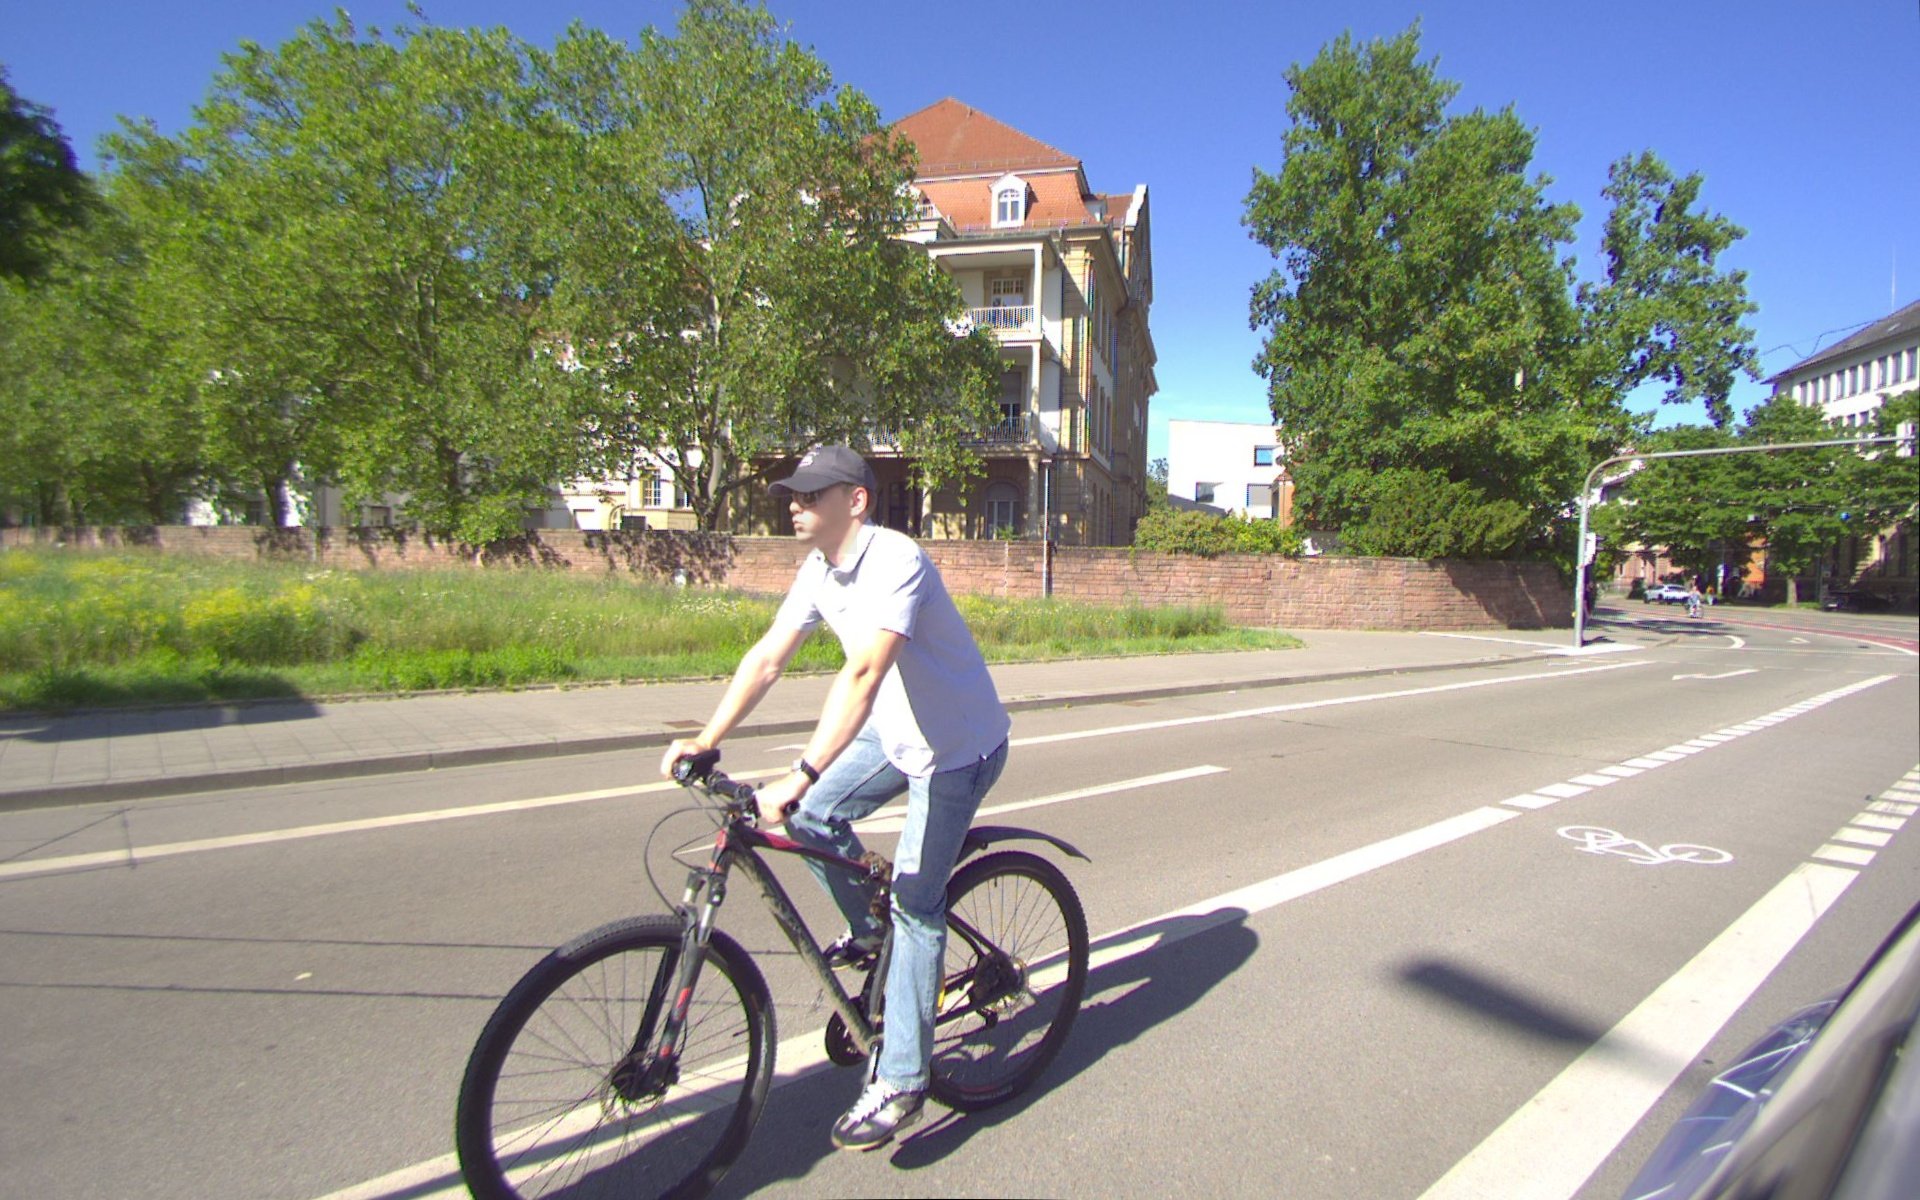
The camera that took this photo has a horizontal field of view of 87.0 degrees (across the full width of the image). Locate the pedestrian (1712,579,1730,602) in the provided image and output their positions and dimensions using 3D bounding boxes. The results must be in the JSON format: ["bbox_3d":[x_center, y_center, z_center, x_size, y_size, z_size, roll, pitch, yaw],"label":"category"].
[{"bbox_3d":[61.941,-0.761,82.350,0.745,1.835,0.978,1,1,9],"label":"pedestrian"}]

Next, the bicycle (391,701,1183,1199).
[{"bbox_3d":[-0.309,0.901,2.574,1.870,1.063,0.749,0,2,-42],"label":"bicycle"}]

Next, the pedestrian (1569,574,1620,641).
[{"bbox_3d":[18.492,0.197,29.500,0.718,1.872,0.961,0,3,-37],"label":"pedestrian"}]

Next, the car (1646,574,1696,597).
[{"bbox_3d":[55.223,-1.168,78.669,1.823,1.571,4.313,3,3,17],"label":"car"}]

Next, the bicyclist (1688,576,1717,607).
[{"bbox_3d":[39.191,-0.449,53.411,0.859,1.579,1.272,2,2,20],"label":"bicyclist"}]

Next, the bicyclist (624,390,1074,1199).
[{"bbox_3d":[-0.285,0.415,2.583,0.851,1.695,0.741,0,2,-42],"label":"bicyclist"}]

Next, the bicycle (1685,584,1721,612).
[{"bbox_3d":[39.184,-0.124,53.400,0.753,1.385,2.720,2,2,20],"label":"bicycle"}]

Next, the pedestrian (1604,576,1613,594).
[{"bbox_3d":[68.496,-1.577,106.904,0.751,1.835,0.970,2,2,31],"label":"pedestrian"}]

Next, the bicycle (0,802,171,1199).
[{"bbox_3d":[-1.980,0.920,1.039,1.812,1.064,0.672,0,0,-42],"label":"bicycle"}]
